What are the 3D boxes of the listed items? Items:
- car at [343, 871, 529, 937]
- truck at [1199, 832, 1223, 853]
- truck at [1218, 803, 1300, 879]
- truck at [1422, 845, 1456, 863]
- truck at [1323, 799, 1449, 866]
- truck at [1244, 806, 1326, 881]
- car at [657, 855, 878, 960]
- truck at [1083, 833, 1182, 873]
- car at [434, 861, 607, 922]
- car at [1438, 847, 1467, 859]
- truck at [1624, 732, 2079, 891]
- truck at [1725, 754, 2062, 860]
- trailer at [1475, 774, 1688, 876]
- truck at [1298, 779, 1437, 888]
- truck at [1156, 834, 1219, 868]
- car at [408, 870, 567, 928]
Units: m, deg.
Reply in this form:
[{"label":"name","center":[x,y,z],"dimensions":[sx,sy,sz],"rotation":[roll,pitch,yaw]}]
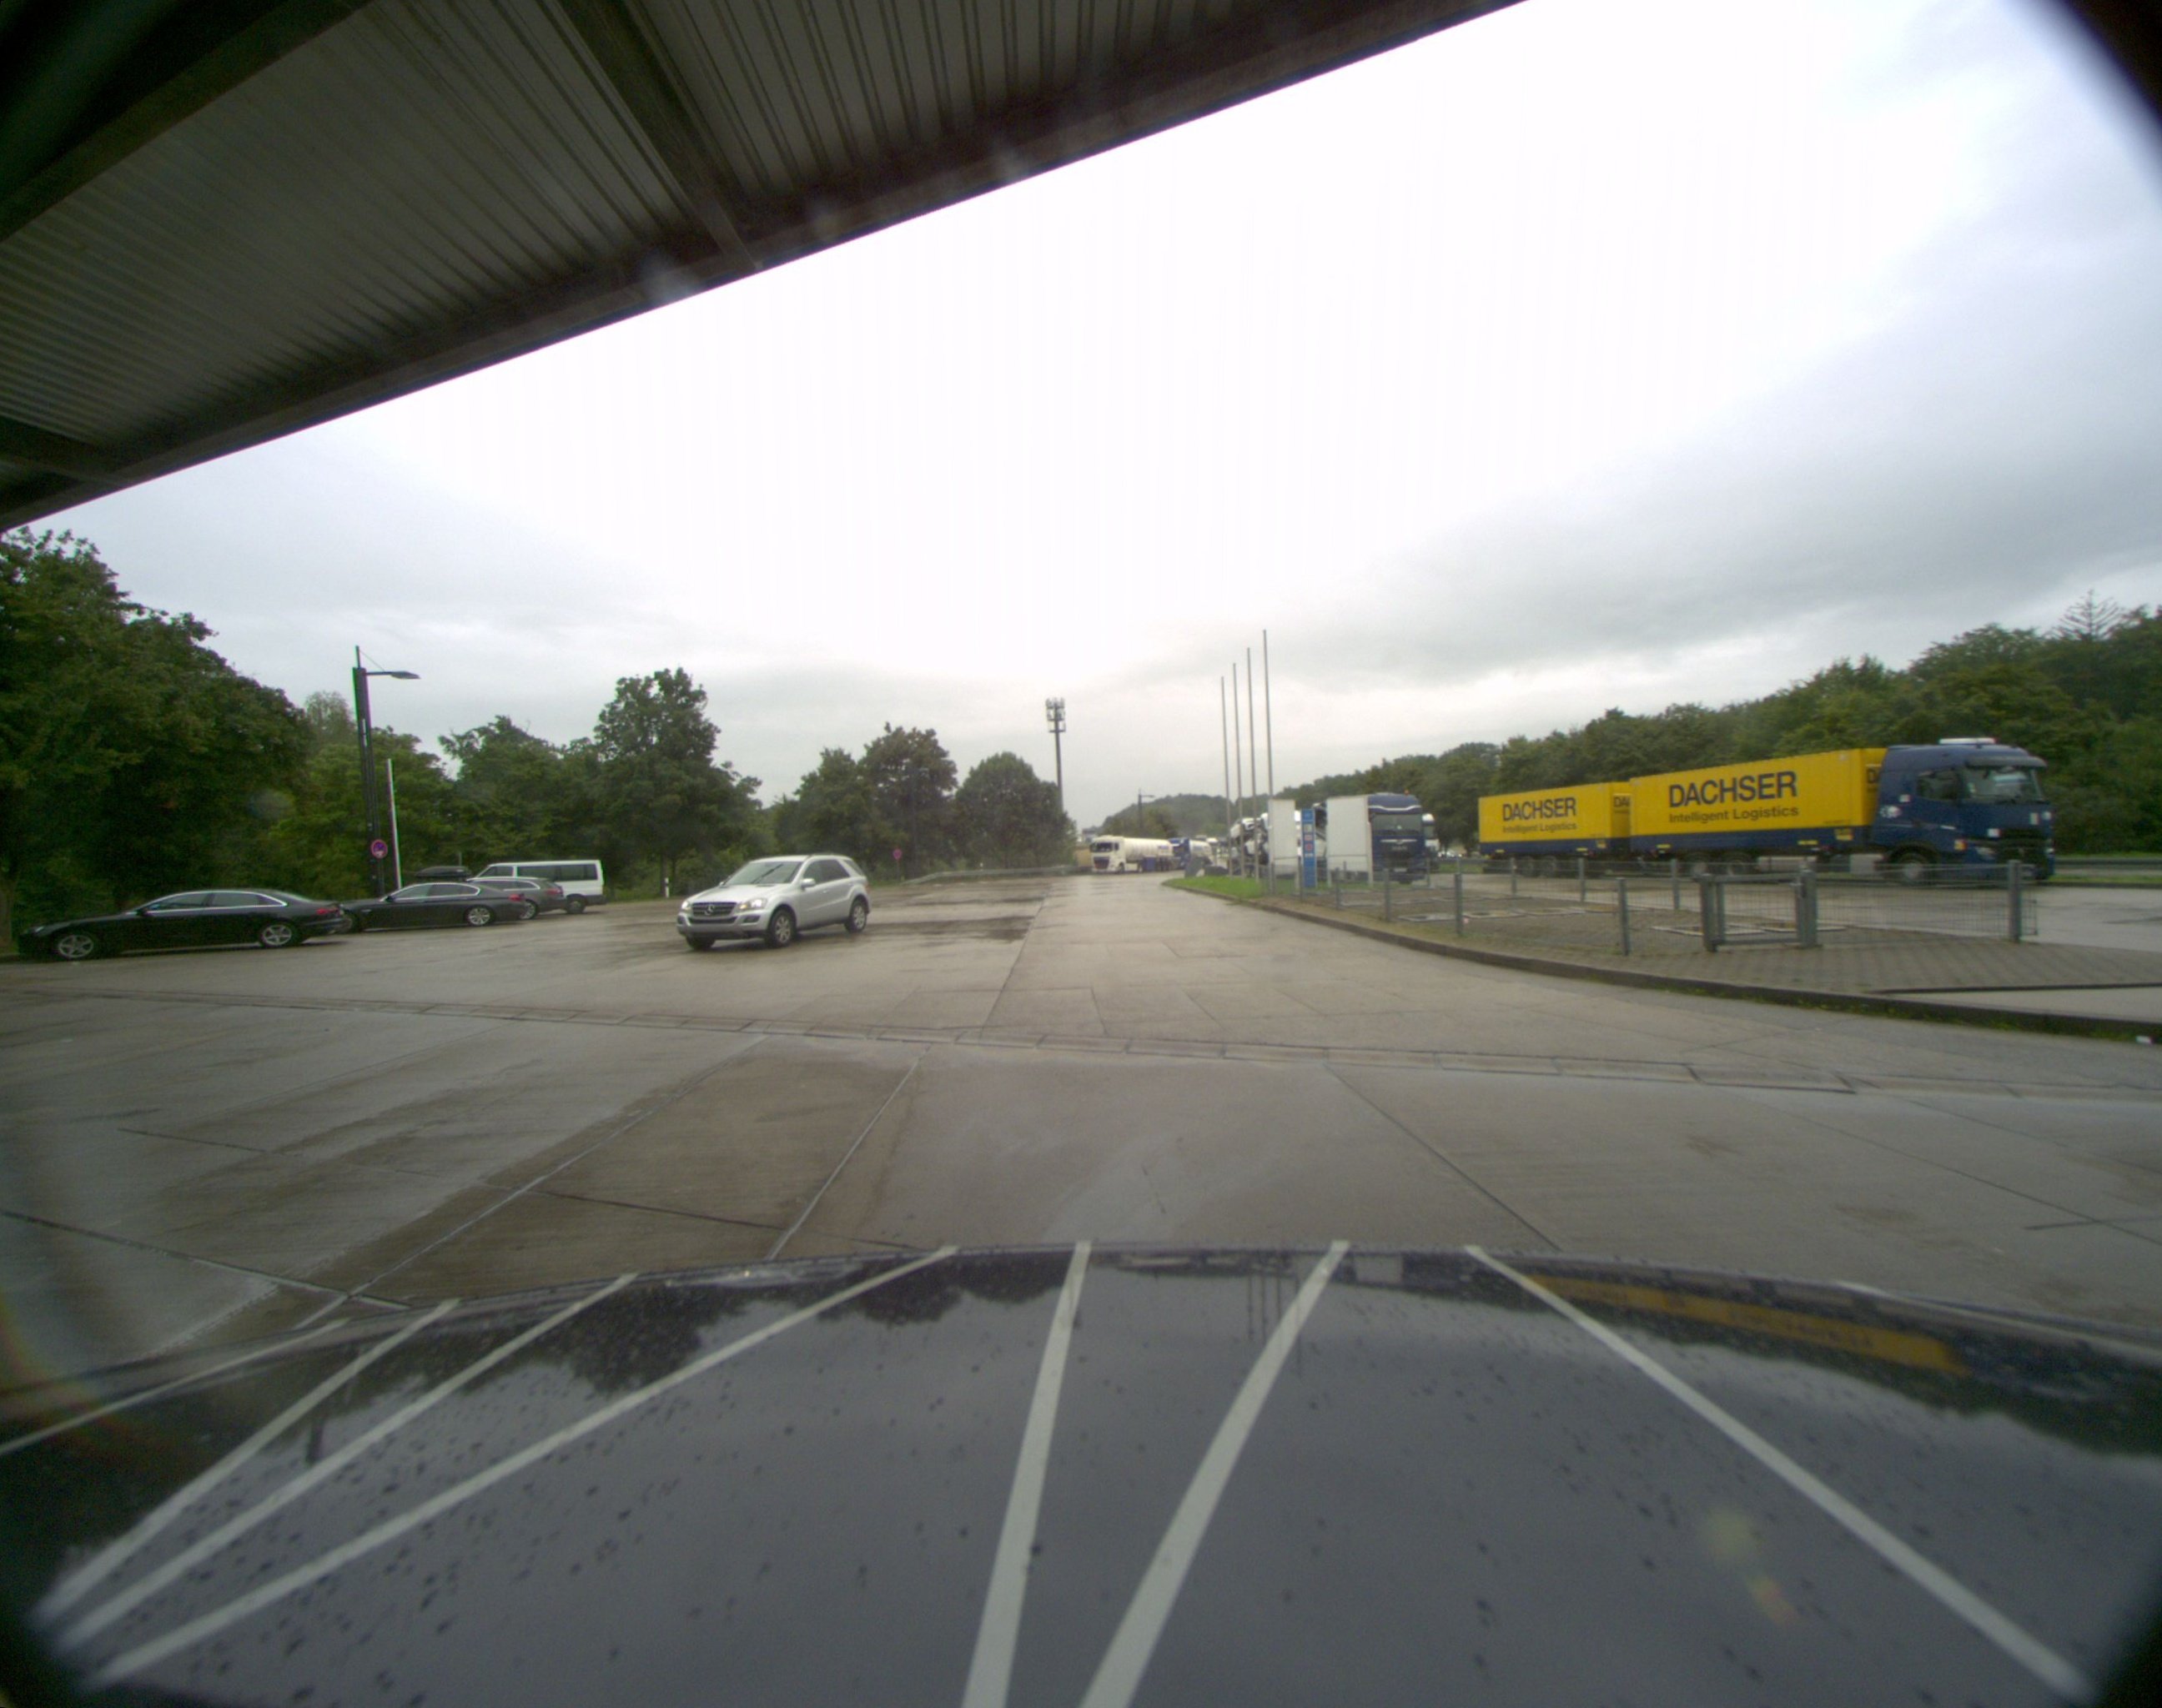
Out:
[{"label":"car","center":[-18.879,1.393,22.495],"dimensions":[4.007,1.650,1.596],"rotation":[-2,0,-35]},{"label":"truck","center":[32.435,-2.877,190.170],"dimensions":[3.145,5.092,11.515],"rotation":[-2,1,-5]},{"label":"truck","center":[10.567,-0.726,45.767],"dimensions":[2.665,4.157,6.618],"rotation":[-2,1,-6]},{"label":"truck","center":[48.421,-0.028,102.862],"dimensions":[1.730,2.252,4.633],"rotation":[-2,1,-10]},{"label":"truck","center":[19.880,-1.297,50.557],"dimensions":[2.757,3.894,10.678],"rotation":[-2,1,-8]},{"label":"truck","center":[11.043,-0.557,41.576],"dimensions":[2.665,3.750,4.747],"rotation":[-2,1,-6]},{"label":"car","center":[-6.079,0.940,15.444],"dimensions":[1.864,1.787,4.544],"rotation":[-2,0,12]},{"label":"truck","center":[5.450,-0.163,75.197],"dimensions":[3.505,3.584,14.426],"rotation":[-2,0,31]},{"label":"car","center":[-20.430,1.286,27.983],"dimensions":[4.898,1.938,2.310],"rotation":[-2,0,-35]},{"label":"car","center":[54.796,-0.172,112.143],"dimensions":[1.704,1.684,3.995],"rotation":[-2,1,-13]},{"label":"truck","center":[23.151,-1.124,24.315],"dimensions":[2.757,3.894,10.678],"rotation":[-2,1,-8]},{"label":"truck","center":[33.908,-1.756,32.702],"dimensions":[2.421,3.785,10.223],"rotation":[-2,1,-10]},{"label":"trailer","center":[21.789,-1.181,33.936],"dimensions":[2.757,3.894,8.700],"rotation":[-2,1,-9]},{"label":"truck","center":[12.181,-0.795,33.168],"dimensions":[2.665,4.157,7.103],"rotation":[-2,0,-6]},{"label":"truck","center":[12.777,-0.406,89.678],"dimensions":[3.506,3.584,14.685],"rotation":[-2,0,23]},{"label":"car","center":[-19.474,1.426,25.147],"dimensions":[4.007,1.650,1.596],"rotation":[-2,0,-35]}]
